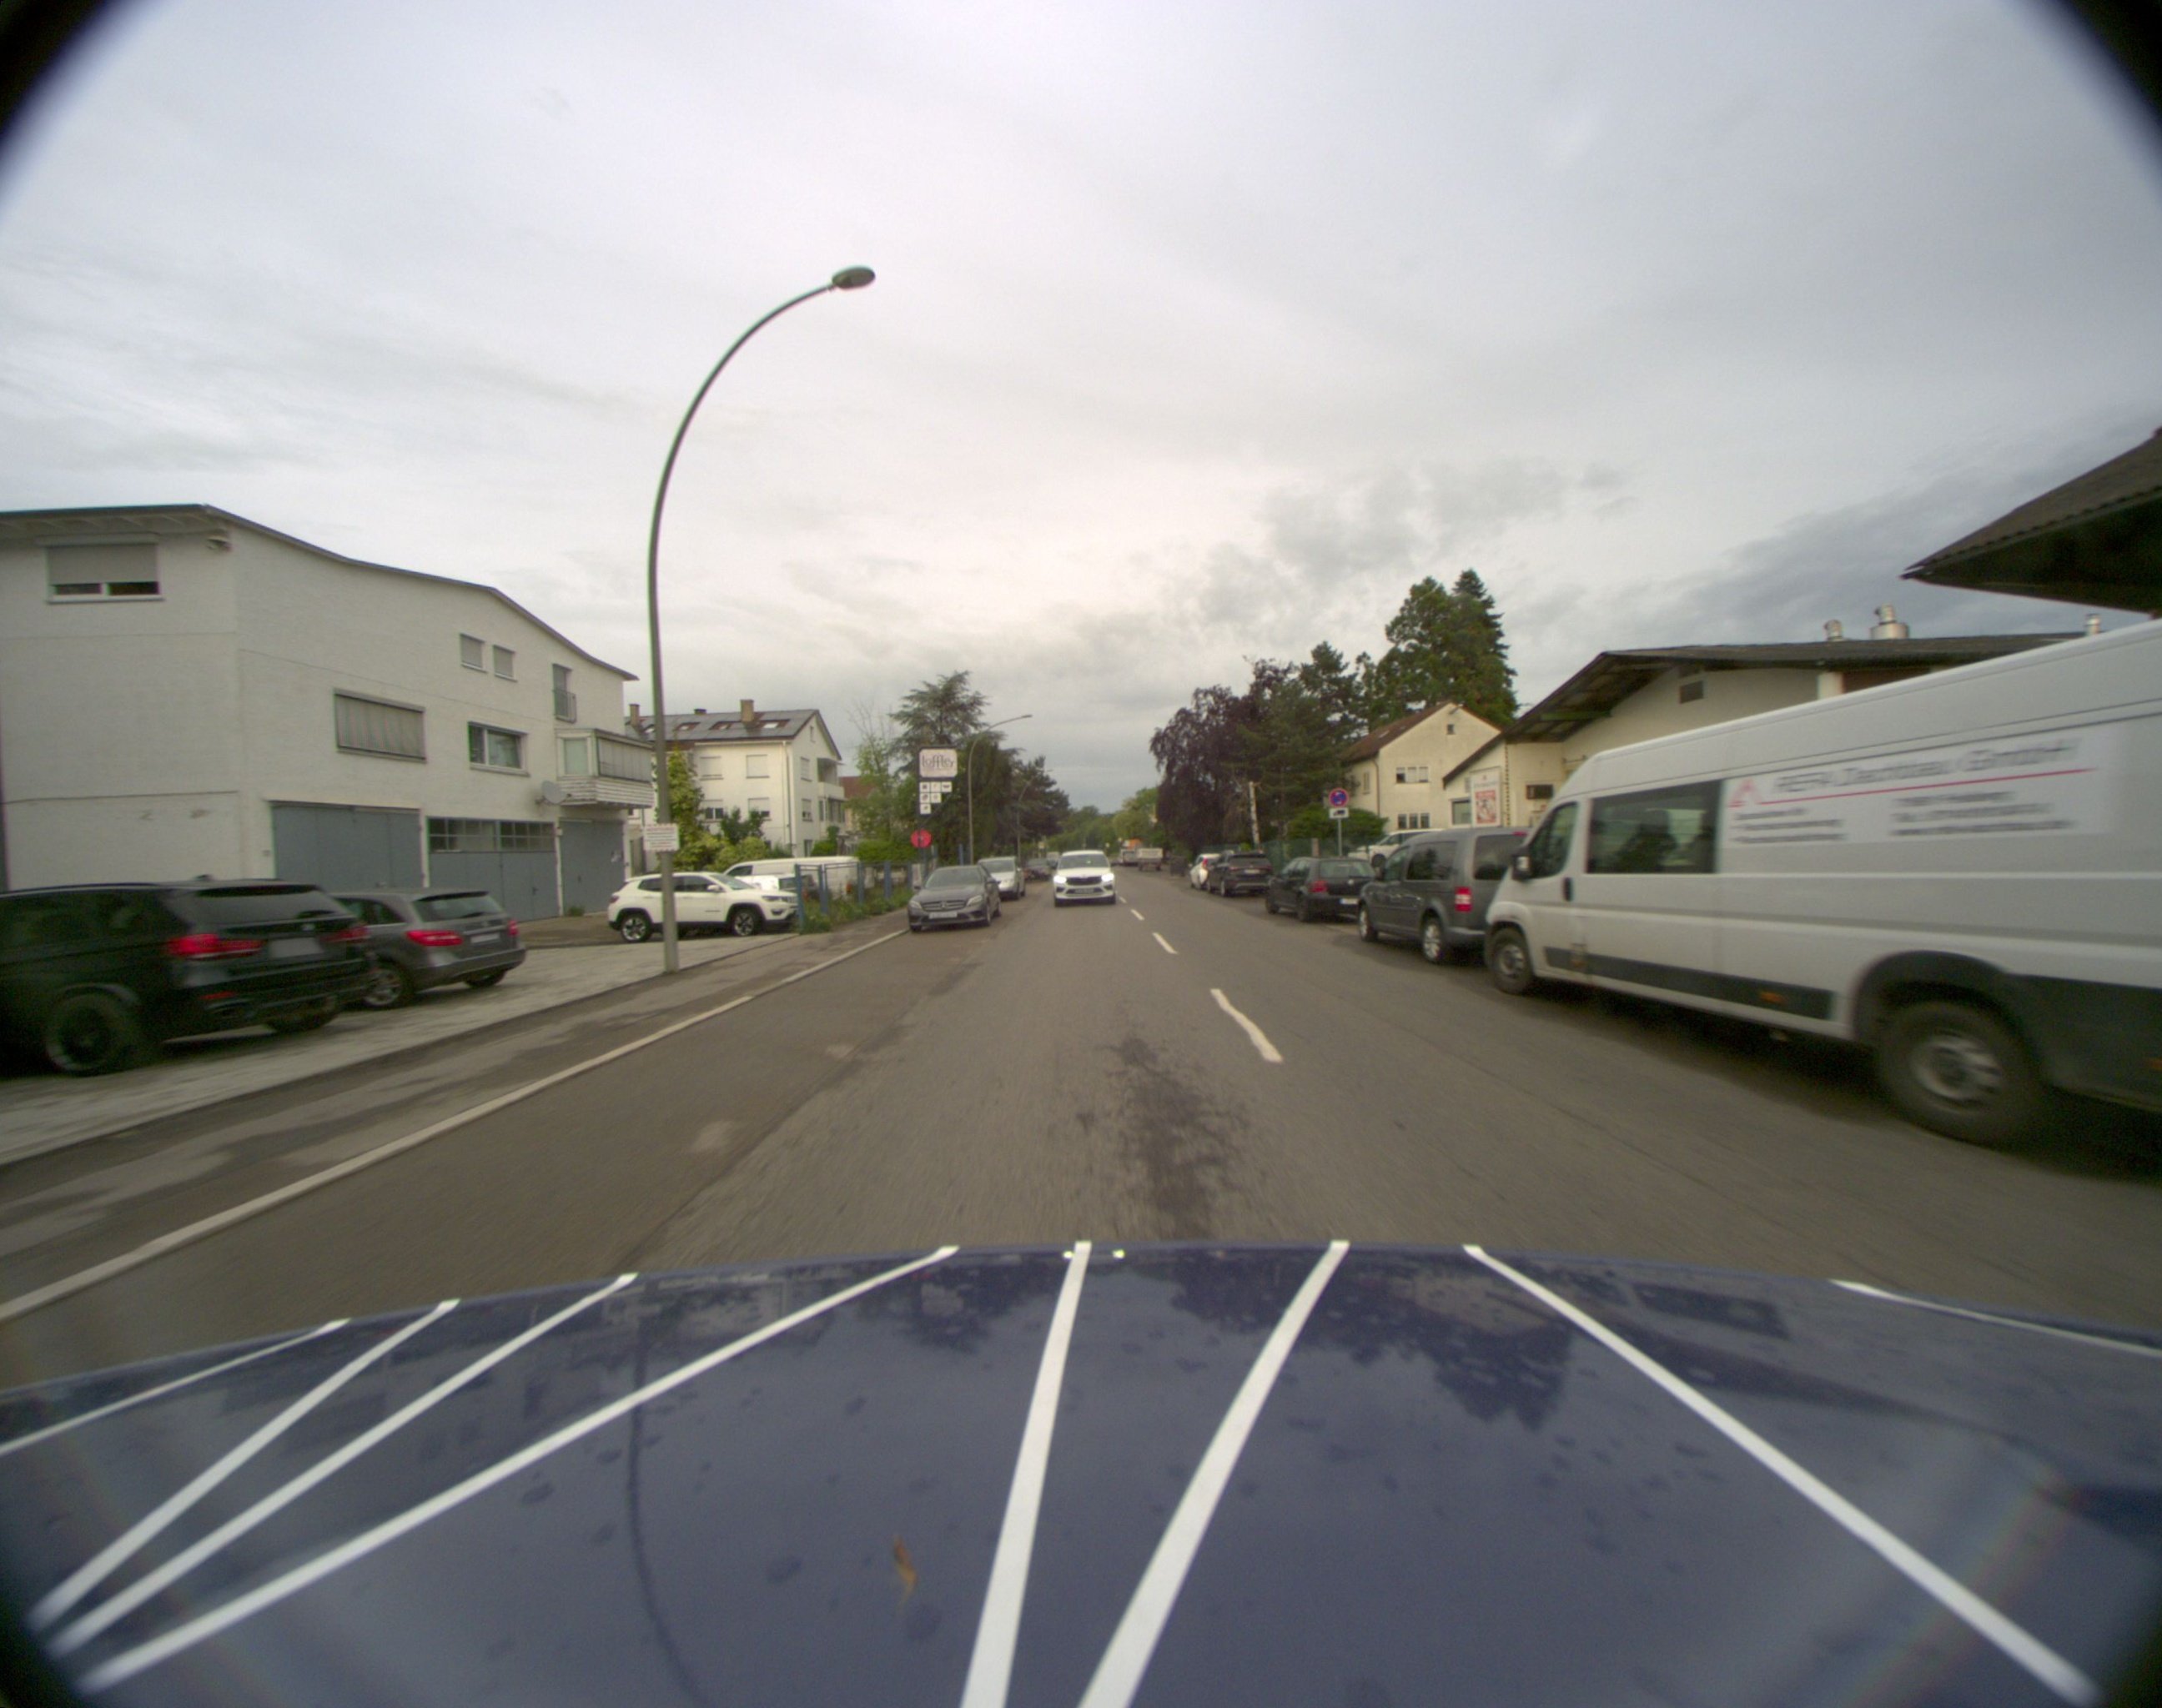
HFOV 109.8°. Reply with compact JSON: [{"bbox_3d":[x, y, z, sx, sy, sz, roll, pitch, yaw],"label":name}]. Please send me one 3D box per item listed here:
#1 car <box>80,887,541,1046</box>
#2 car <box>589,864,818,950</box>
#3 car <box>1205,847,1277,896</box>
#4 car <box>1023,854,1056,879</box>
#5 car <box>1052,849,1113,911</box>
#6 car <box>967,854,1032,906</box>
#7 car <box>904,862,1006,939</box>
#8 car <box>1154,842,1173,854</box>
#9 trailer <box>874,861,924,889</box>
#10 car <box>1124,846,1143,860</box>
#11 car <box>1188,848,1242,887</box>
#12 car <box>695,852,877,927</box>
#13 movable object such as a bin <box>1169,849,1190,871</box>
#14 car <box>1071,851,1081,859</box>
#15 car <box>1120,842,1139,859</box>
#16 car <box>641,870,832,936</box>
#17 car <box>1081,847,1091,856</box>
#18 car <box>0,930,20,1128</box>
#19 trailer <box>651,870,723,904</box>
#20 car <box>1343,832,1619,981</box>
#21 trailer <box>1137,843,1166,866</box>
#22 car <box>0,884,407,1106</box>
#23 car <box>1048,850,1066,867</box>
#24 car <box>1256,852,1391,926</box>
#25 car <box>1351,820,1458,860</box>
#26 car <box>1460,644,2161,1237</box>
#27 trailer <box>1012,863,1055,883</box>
[{"bbox_3d":[-10.147,1.424,10.278,4.254,1.527,1.811,-5,1,0],"label":"car"},{"bbox_3d":[-8.951,1.223,18.331,4.457,1.615,1.893,-4,1,-1],"label":"car"},{"bbox_3d":[5.598,0.559,27.022,1.665,1.575,3.915,-1,1,-1],"label":"car"},{"bbox_3d":[-2.861,0.820,53.443,1.744,1.425,4.648,-5,1,2],"label":"car"},{"bbox_3d":[-0.021,0.740,24.166,1.692,1.651,3.998,-4,1,-2],"label":"car"},{"bbox_3d":[-3.009,0.920,29.030,1.743,1.612,4.373,-4,1,2],"label":"car"},{"bbox_3d":[-2.971,1.043,18.860,1.743,1.458,4.544,-4,1,-1],"label":"car"},{"bbox_3d":[10.988,-0.811,101.143,1.833,1.432,4.787,-4,1,-1],"label":"car"},{"bbox_3d":[-10.141,1.142,42.597,1.619,1.268,3.892,-3,1,3],"label":"trailer"},{"bbox_3d":[5.782,-0.148,84.503,1.821,1.419,4.980,-1,1,1],"label":"car"},{"bbox_3d":[5.593,0.527,32.045,1.620,1.500,3.660,-1,1,1],"label":"car"},{"bbox_3d":[-9.046,1.054,23.600,4.743,1.875,2.000,-4,1,0],"label":"car"},{"bbox_3d":[6.284,0.382,48.590,1.103,1.303,1.425,-4,1,0],"label":"movable object such as a bin"},{"bbox_3d":[-0.984,0.225,152.119,1.743,1.458,4.544,-4,1,-1],"label":"car"},{"bbox_3d":[5.718,-0.400,89.938,1.898,1.881,5.209,-1,1,1],"label":"car"},{"bbox_3d":[-9.378,1.299,20.953,4.331,1.371,1.850,-4,1,-1],"label":"car"},{"bbox_3d":[1.064,-0.529,154.177,1.898,1.678,4.230,-1,1,1],"label":"car"},{"bbox_3d":[-10.180,1.453,4.934,3.976,1.481,1.833,-4,1,1],"label":"car"},{"bbox_3d":[-21.389,1.754,41.395,1.644,1.456,4.094,-4,1,0],"label":"trailer"},{"bbox_3d":[5.561,0.594,11.339,1.774,1.758,4.445,1,1,0],"label":"car"},{"bbox_3d":[5.896,0.026,63.880,1.934,1.755,4.547,-3,1,1],"label":"trailer"},{"bbox_3d":[-9.681,1.322,7.409,4.238,1.665,1.980,-4,1,-2],"label":"car"},{"bbox_3d":[-2.871,0.487,91.113,1.736,1.817,5.552,-5,1,1],"label":"car"},{"bbox_3d":[5.491,0.717,17.783,1.666,1.440,4.316,-1,1,-2],"label":"car"},{"bbox_3d":[17.884,-0.767,42.166,5.010,1.846,2.000,-4,1,2],"label":"car"},{"bbox_3d":[5.487,0.327,5.600,2.163,2.413,6.458,0,1,0],"label":"car"},{"bbox_3d":[-2.852,1.150,46.795,2.179,0.892,6.635,-4,0,0],"label":"trailer"}]
